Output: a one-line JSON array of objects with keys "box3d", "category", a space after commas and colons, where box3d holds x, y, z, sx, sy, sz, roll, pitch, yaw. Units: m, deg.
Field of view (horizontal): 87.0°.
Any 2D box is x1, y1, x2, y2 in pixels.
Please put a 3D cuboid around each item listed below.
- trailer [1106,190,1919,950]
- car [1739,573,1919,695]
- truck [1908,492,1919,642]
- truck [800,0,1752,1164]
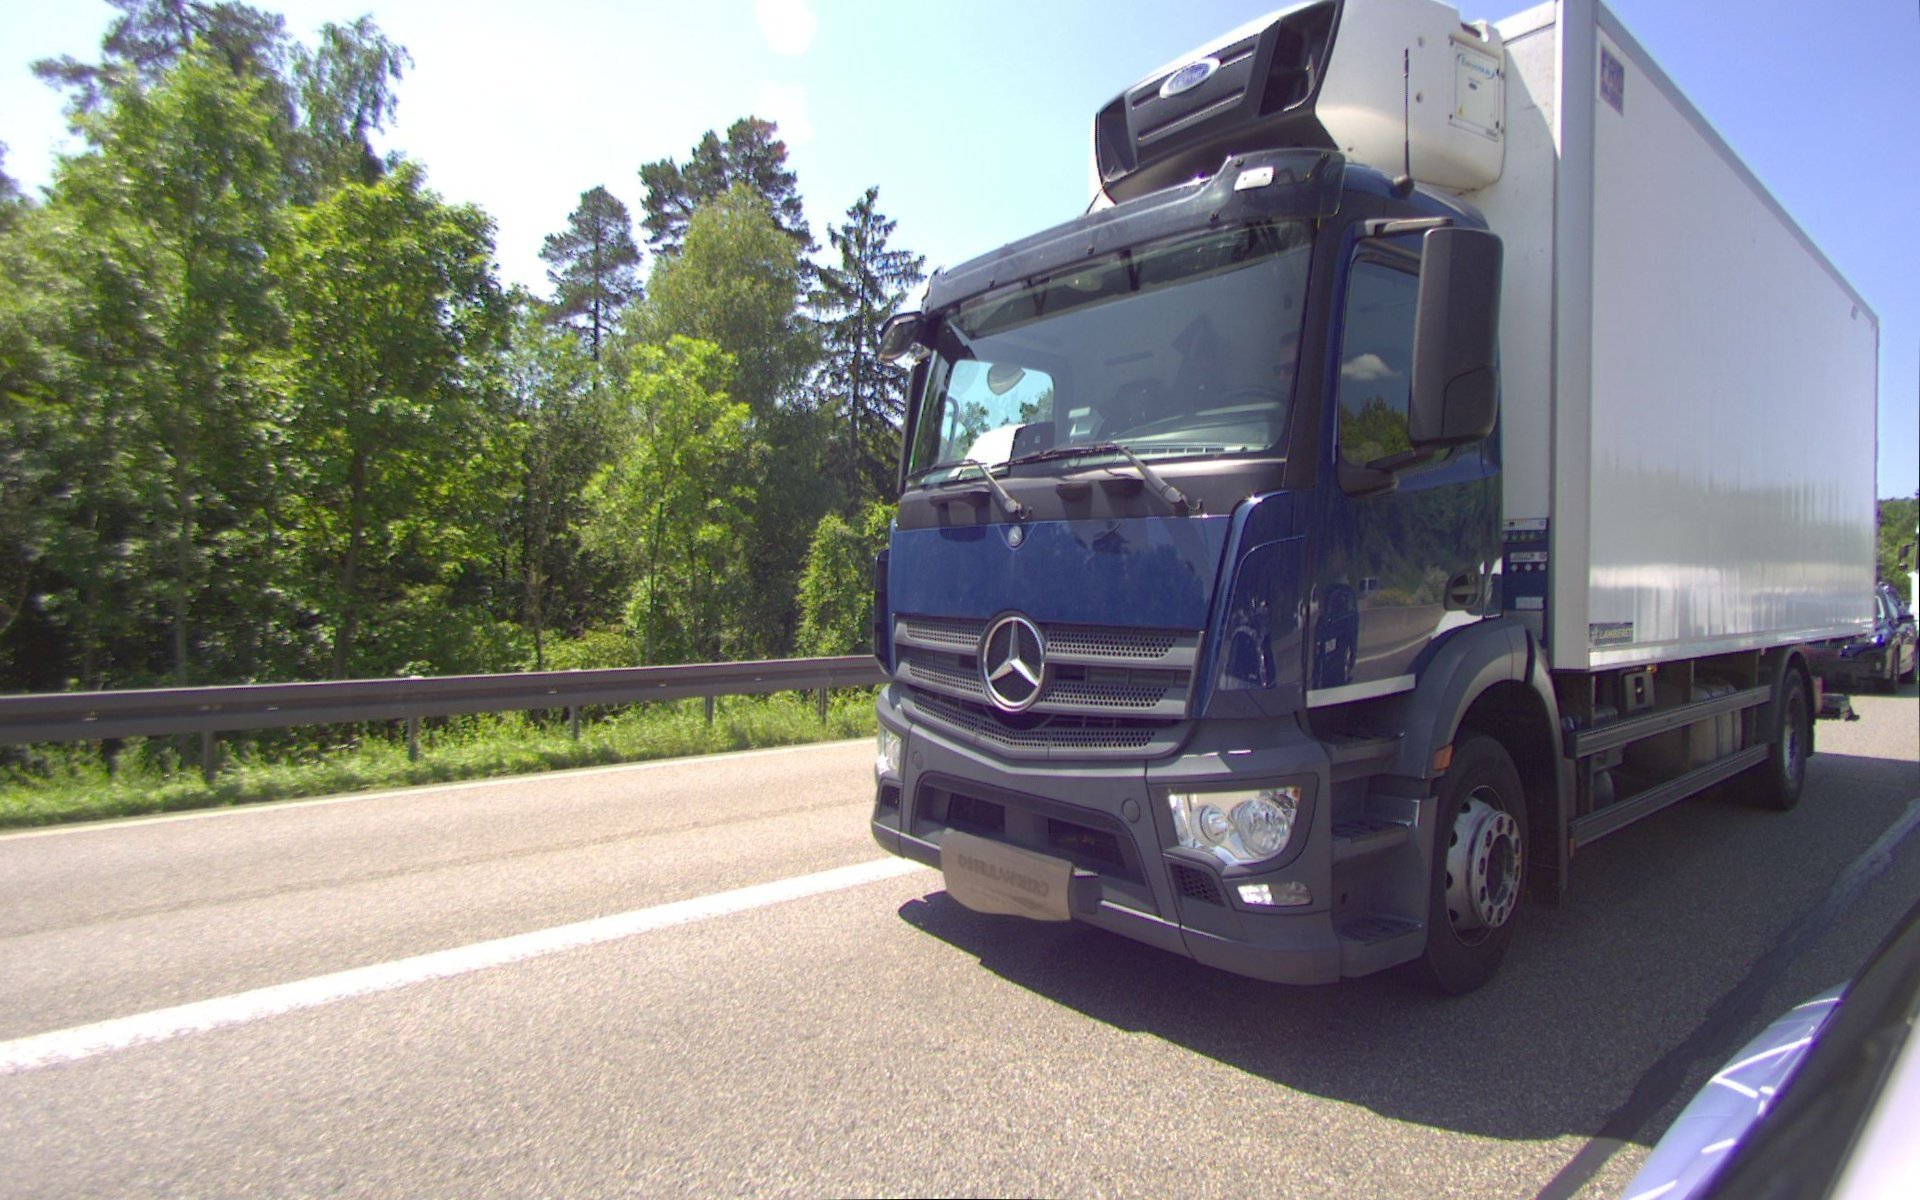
[{"box3d": [4.645, -0.165, 7.370, 7.741, 2.935, 2.561, -1, 1, -39], "category": "trailer"}, {"box3d": [14.788, 0.429, 16.984, 4.534, 1.713, 1.996, -2, 3, -43], "category": "car"}, {"box3d": [29.969, -0.977, 29.355, 7.205, 4.135, 2.765, -2, 1, -40], "category": "truck"}, {"box3d": [1.639, -0.119, 4.856, 4.031, 2.976, 2.562, -2, 2, -39], "category": "truck"}]
